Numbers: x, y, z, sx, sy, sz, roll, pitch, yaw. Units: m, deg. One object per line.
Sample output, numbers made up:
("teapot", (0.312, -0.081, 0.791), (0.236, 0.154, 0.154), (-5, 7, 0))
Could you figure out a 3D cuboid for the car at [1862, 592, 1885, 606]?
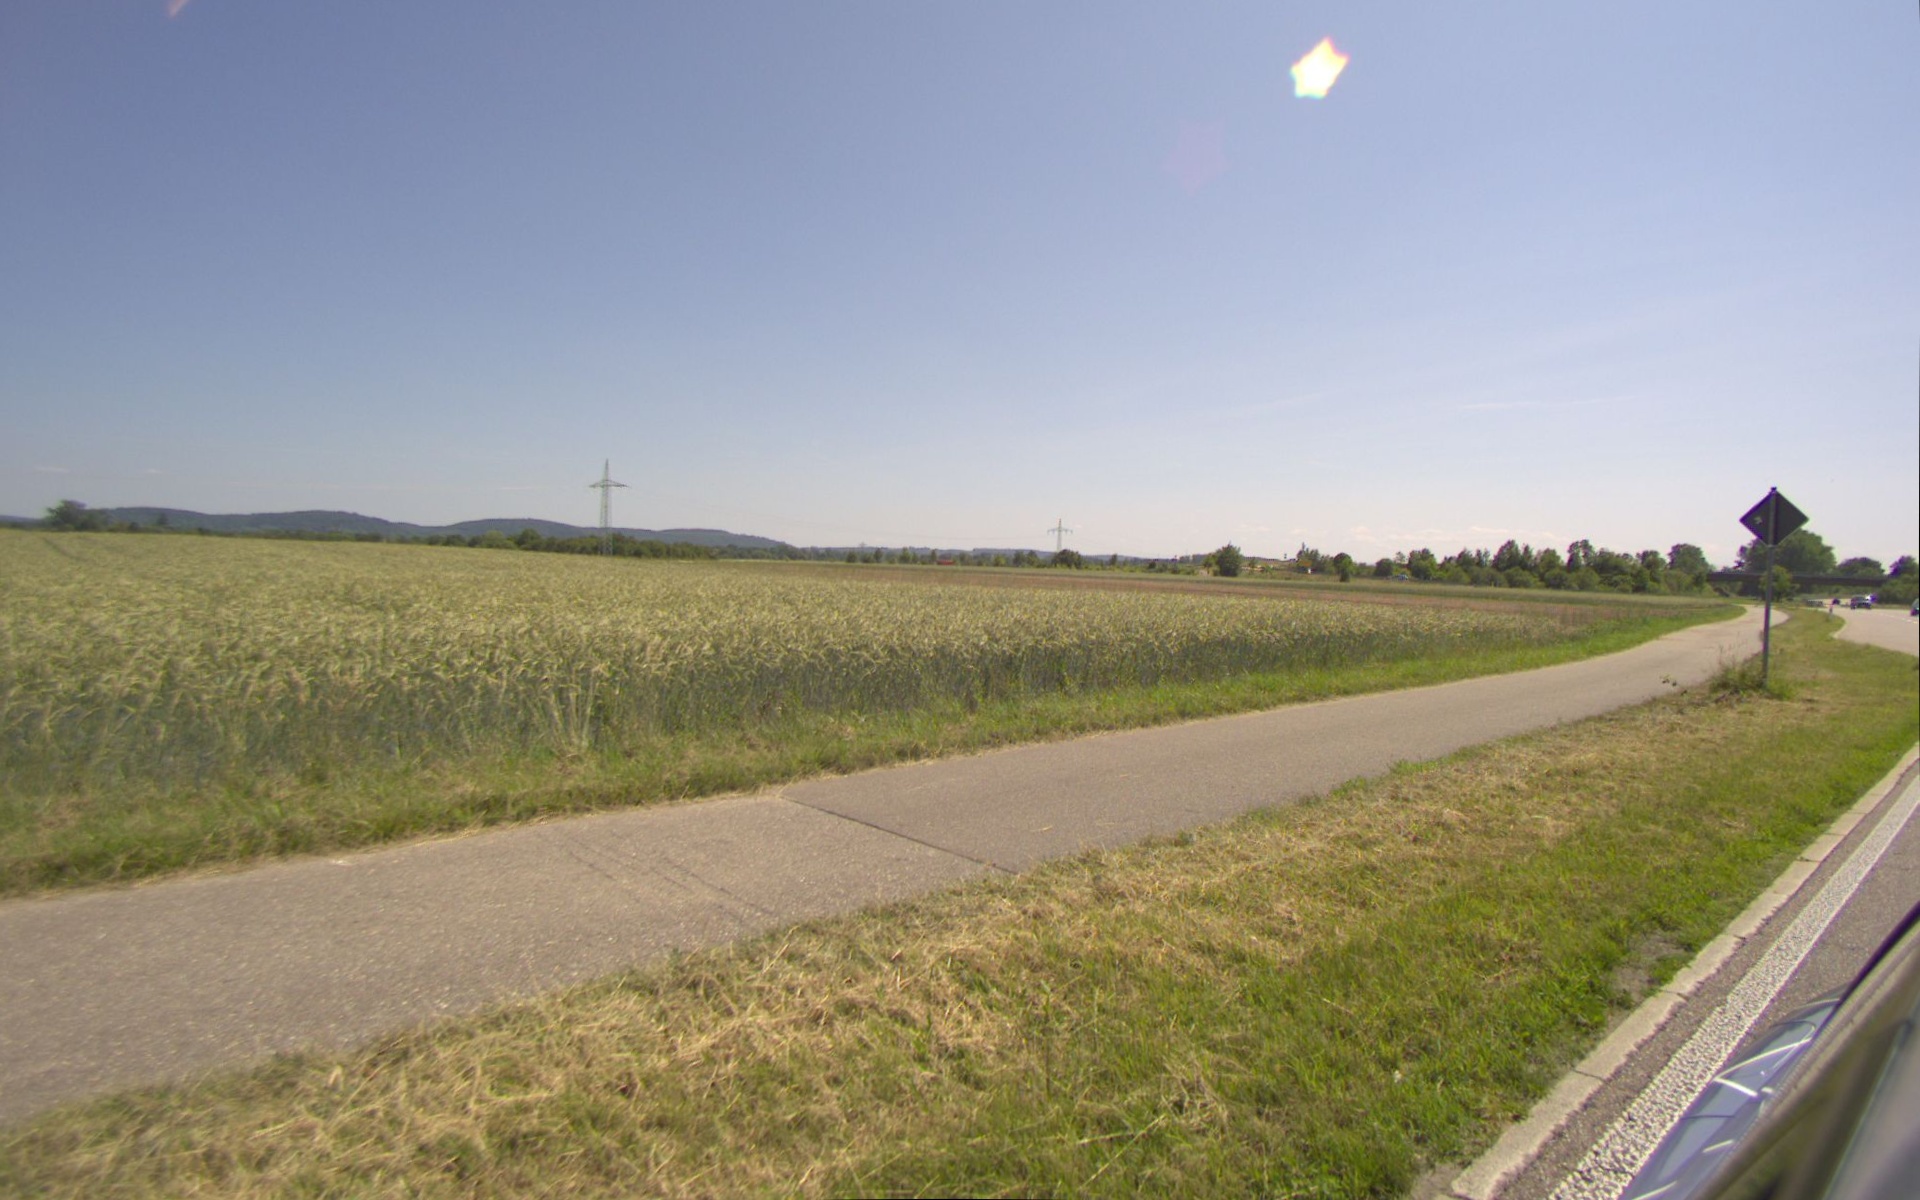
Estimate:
("car", (114.084, -0.111, 126.409), (1.977, 1.616, 5.321), (1, 1, 41))
